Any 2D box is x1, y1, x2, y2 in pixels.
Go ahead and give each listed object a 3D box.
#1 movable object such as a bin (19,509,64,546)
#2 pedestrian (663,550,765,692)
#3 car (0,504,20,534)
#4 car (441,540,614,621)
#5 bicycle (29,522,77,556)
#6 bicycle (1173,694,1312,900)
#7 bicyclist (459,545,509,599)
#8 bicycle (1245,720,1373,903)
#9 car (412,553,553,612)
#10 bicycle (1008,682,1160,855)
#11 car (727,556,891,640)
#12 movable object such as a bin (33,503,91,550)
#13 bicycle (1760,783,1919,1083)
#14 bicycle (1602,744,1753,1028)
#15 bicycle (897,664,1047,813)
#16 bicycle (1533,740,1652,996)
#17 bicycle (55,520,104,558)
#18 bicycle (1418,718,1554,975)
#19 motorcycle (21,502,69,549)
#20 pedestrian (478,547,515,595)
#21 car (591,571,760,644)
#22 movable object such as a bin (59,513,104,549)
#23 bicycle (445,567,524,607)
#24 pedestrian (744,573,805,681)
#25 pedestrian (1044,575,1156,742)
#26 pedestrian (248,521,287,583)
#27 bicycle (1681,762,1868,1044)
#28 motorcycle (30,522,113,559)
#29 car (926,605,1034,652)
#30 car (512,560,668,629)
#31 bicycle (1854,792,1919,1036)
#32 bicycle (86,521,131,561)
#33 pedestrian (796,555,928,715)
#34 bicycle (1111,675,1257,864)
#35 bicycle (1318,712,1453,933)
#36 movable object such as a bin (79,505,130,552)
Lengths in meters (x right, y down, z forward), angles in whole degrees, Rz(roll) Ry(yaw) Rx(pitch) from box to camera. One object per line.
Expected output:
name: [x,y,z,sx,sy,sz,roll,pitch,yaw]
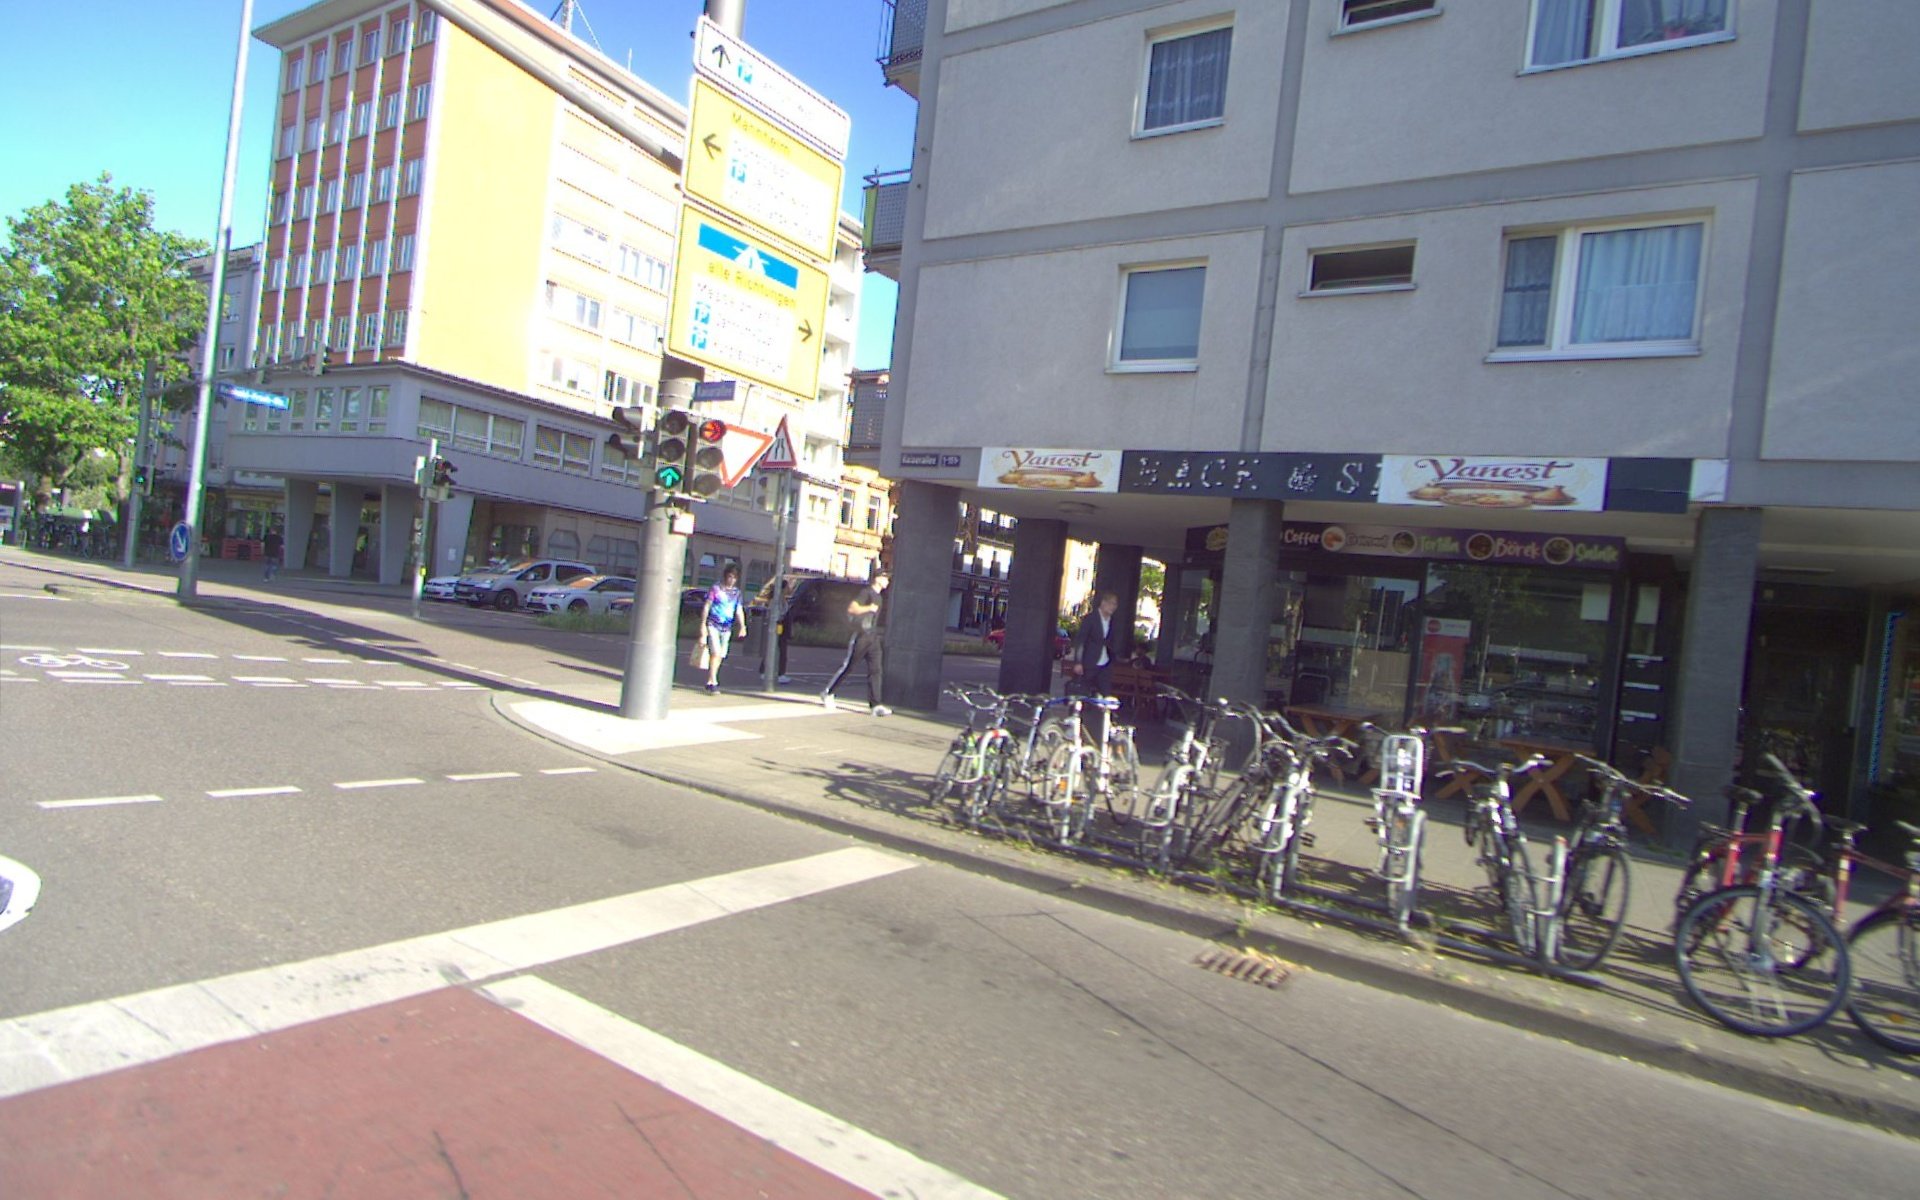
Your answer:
movable object such as a bin: [-40.292,-3.182,44.132,0.912,1.371,1.174,6,-2,33]
pedestrian: [-3.327,0.298,13.619,0.860,1.799,0.790,7,0,31]
car: [-48.959,-4.180,50.635,1.755,1.456,4.538,6,0,-36]
car: [-13.472,-0.546,31.628,1.915,1.871,4.597,6,-3,31]
bicycle: [-31.201,-2.094,34.604,2.083,0.996,0.477,6,-2,29]
bicycle: [1.917,1.219,6.673,0.392,1.113,1.752,6,0,29]
bicyclist: [-15.482,-0.896,32.743,0.925,1.578,0.935,6,-2,29]
bicycle: [2.269,1.286,6.443,0.381,0.977,1.546,6,-3,31]
car: [-16.845,-0.578,35.684,1.814,1.519,4.160,4,-4,29]
bicycle: [0.937,1.138,7.224,0.403,1.024,1.702,6,0,28]
car: [-4.981,-0.010,33.968,2.340,2.226,5.239,6,0,35]
movable object such as a bin: [-36.156,-2.945,40.520,0.991,1.659,1.383,6,-1,31]
bicycle: [4.533,1.566,5.039,0.408,1.073,1.821,7,-1,29]
bicycle: [3.860,1.442,5.507,0.398,1.128,1.820,7,0,30]
bicycle: [0.129,1.041,7.902,0.404,1.024,1.430,6,0,33]
bicycle: [3.584,1.431,5.775,0.408,1.069,1.771,6,1,30]
bicycle: [-30.824,-2.146,35.213,2.083,1.129,0.477,6,-2,29]
bicycle: [3.127,1.357,5.970,0.522,1.126,1.639,6,2,29]
motorcycle: [-34.818,-2.856,38.266,2.507,1.557,0.802,6,-1,38]
pedestrian: [-19.067,-1.180,41.362,0.883,1.799,0.858,7,-1,5]
car: [-8.020,0.256,28.622,1.947,1.485,4.145,5,-3,41]
movable object such as a bin: [-39.607,-3.117,45.361,0.944,1.406,1.215,6,-2,33]
bicycle: [-15.494,-0.412,32.833,0.846,1.012,2.147,6,-3,30]
pedestrian: [-3.226,0.469,17.522,0.653,1.795,0.567,7,0,34]
pedestrian: [1.705,0.701,12.306,0.785,1.909,0.866,7,0,-36]
pedestrian: [-22.430,-1.536,32.592,0.822,1.865,0.883,8,-2,-36]
bicycle: [4.180,1.462,5.263,0.408,1.073,1.821,6,-2,31]
motorcycle: [-33.045,-2.211,37.455,0.750,1.033,2.100,7,-2,32]
car: [0.884,1.255,44.745,4.303,1.554,1.826,6,0,24]
car: [-10.881,-0.121,29.843,1.817,1.456,3.997,6,-3,30]
bicycle: [4.888,1.587,4.817,0.408,1.073,1.821,5,-1,28]
bicycle: [-30.730,-2.138,36.298,1.816,1.258,0.533,6,-2,30]
pedestrian: [-1.236,0.440,12.757,1.190,1.857,0.864,7,0,31]
bicycle: [1.589,1.116,6.912,0.399,1.088,1.756,6,-3,29]
bicycle: [2.677,1.276,6.222,0.521,1.094,1.819,6,-3,28]
movable object such as a bin: [-35.391,-2.960,41.618,0.929,1.730,1.257,5,0,31]
